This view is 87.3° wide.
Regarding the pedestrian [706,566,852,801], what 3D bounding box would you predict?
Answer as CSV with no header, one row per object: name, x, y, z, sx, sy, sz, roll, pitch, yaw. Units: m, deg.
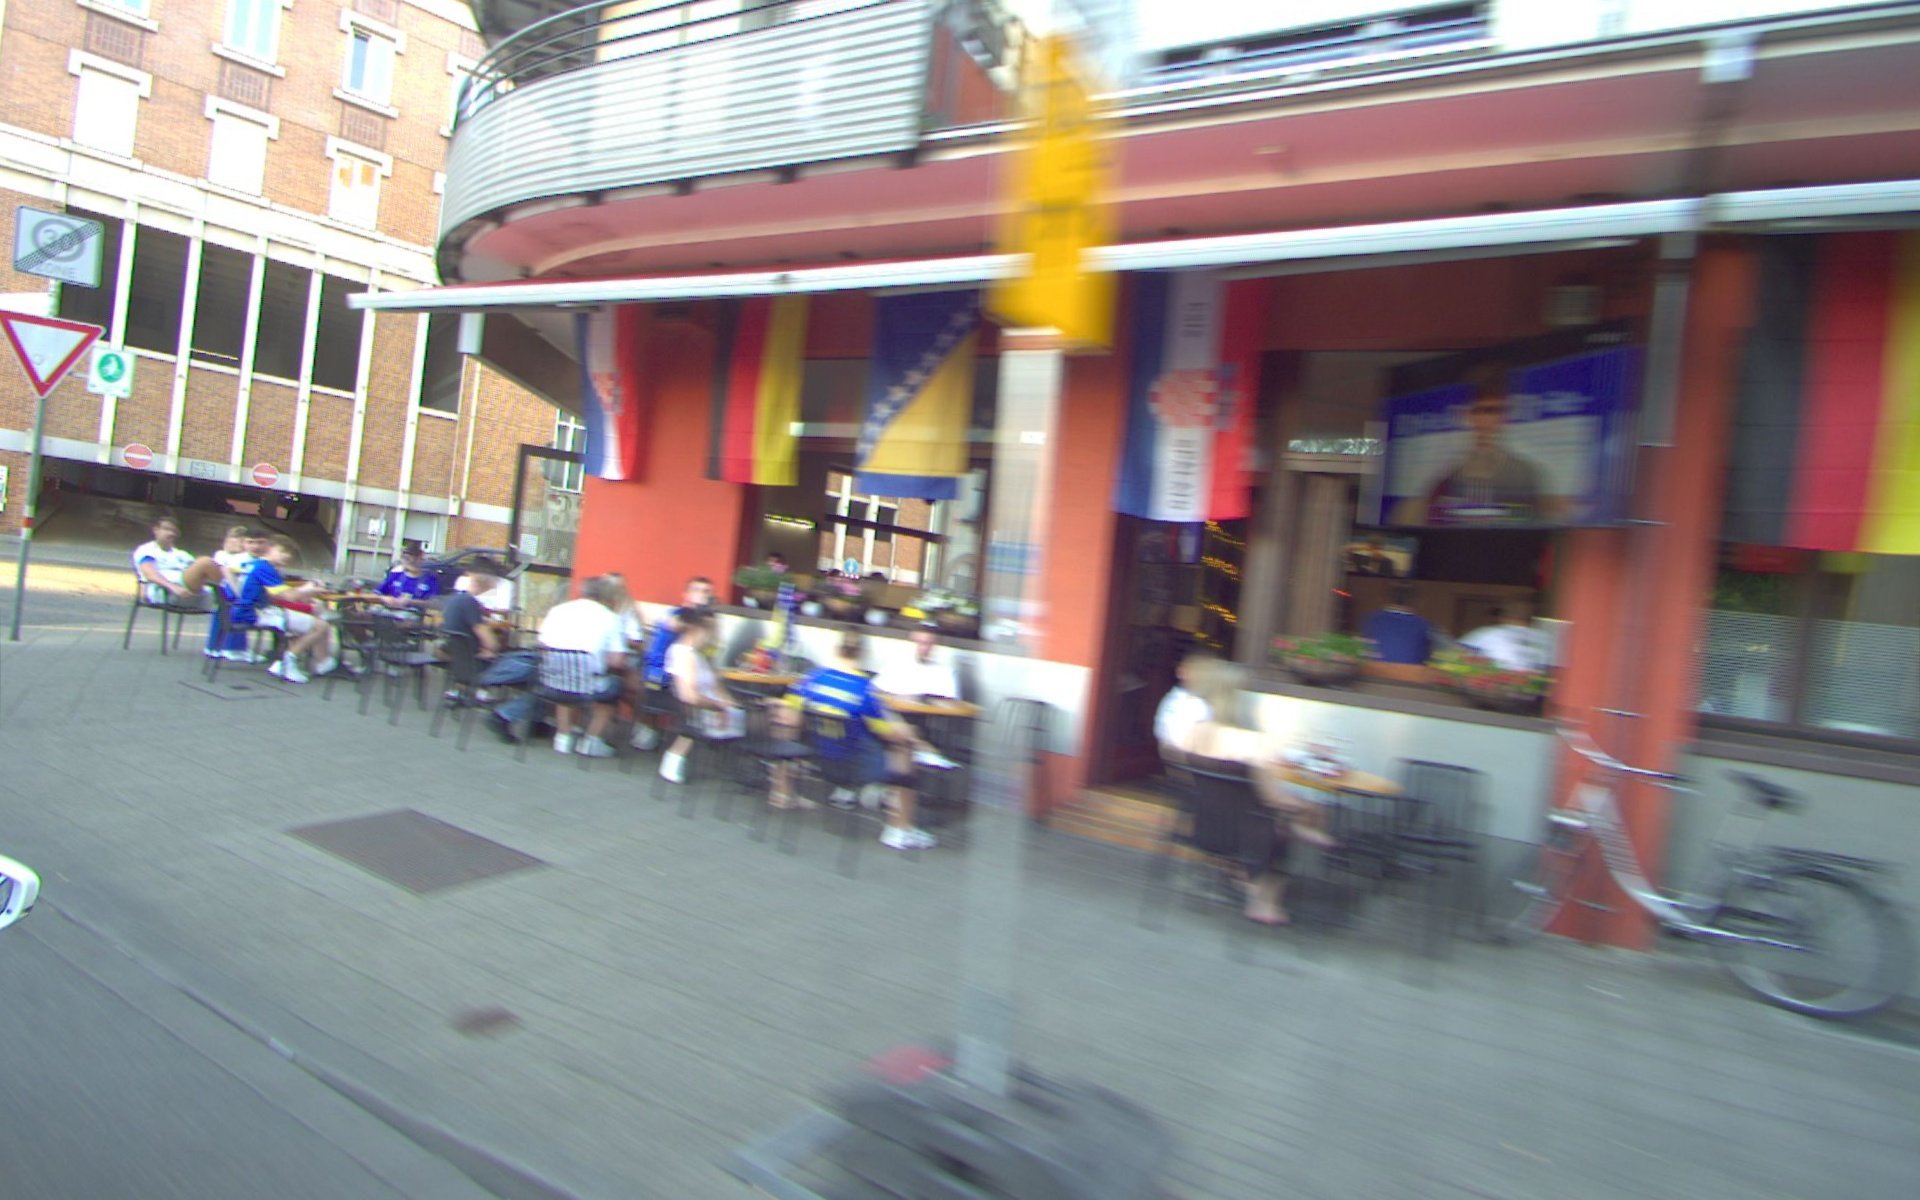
pedestrian,-1.210,0.539,6.787,0.551,1.453,0.666,7,2,26

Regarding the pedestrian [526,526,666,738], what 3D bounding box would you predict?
pedestrian,-2.890,0.241,8.020,0.643,1.556,0.674,7,3,26

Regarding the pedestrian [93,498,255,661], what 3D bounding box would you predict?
pedestrian,-7.435,-0.182,9.553,0.823,1.399,0.770,6,1,3

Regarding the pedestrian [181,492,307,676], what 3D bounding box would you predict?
pedestrian,-6.443,-0.142,9.052,0.710,1.555,0.681,6,1,-44

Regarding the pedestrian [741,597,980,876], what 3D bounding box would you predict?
pedestrian,-0.552,0.705,5.538,0.872,1.322,0.843,5,1,-42

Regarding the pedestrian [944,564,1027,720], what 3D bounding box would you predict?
pedestrian,0.322,0.513,12.307,0.607,1.798,0.611,7,0,26

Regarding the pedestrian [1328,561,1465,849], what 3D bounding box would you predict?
pedestrian,2.913,0.676,6.692,0.607,1.760,0.611,7,0,27

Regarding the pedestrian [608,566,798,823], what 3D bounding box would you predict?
pedestrian,-1.526,0.528,6.010,0.736,1.363,0.654,7,3,26

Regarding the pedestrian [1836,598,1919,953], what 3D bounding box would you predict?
pedestrian,5.935,1.071,6.033,0.802,2.038,0.667,7,0,39

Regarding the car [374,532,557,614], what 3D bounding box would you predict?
car,-13.140,-0.699,26.810,3.968,1.538,1.979,8,0,-37

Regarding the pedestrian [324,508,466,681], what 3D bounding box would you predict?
pedestrian,-5.596,-0.042,10.016,0.838,1.554,0.714,8,-1,-6

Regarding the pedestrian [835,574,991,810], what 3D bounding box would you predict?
pedestrian,-0.302,0.606,6.774,0.591,1.438,0.714,7,-1,28

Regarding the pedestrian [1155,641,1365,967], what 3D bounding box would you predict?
pedestrian,1.343,0.872,4.668,0.701,1.294,0.853,4,1,7

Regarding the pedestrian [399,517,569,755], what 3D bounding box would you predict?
pedestrian,-3.419,0.236,7.245,0.746,1.557,0.713,7,4,25

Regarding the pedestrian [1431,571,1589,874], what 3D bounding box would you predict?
pedestrian,3.486,0.750,6.425,0.657,1.741,0.718,7,0,27

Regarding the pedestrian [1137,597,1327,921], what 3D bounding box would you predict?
pedestrian,1.451,0.821,5.535,0.701,1.554,0.854,8,-1,7

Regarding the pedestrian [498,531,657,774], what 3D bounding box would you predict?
pedestrian,-2.667,0.343,7.034,0.688,1.548,0.649,7,4,25

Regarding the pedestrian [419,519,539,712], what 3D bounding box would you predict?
pedestrian,-4.237,0.137,8.854,0.744,1.554,0.644,8,-1,-29

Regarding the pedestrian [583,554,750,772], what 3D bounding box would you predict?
pedestrian,-2.259,0.473,7.793,0.769,1.522,0.769,7,1,26

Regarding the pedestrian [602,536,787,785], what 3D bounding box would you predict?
pedestrian,-1.820,0.418,6.990,0.667,1.554,0.853,7,-1,25

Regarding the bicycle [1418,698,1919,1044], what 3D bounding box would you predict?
bicycle,3.275,1.154,4.651,1.971,1.100,0.550,7,-1,29

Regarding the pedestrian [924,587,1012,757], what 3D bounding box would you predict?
pedestrian,0.095,0.803,11.353,0.606,1.798,0.612,7,0,21

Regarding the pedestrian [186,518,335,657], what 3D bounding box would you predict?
pedestrian,-7.131,-0.115,10.294,0.949,1.298,0.686,5,0,3

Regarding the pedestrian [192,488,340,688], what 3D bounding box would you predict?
pedestrian,-5.899,-0.114,8.554,0.838,1.558,0.712,7,5,30
